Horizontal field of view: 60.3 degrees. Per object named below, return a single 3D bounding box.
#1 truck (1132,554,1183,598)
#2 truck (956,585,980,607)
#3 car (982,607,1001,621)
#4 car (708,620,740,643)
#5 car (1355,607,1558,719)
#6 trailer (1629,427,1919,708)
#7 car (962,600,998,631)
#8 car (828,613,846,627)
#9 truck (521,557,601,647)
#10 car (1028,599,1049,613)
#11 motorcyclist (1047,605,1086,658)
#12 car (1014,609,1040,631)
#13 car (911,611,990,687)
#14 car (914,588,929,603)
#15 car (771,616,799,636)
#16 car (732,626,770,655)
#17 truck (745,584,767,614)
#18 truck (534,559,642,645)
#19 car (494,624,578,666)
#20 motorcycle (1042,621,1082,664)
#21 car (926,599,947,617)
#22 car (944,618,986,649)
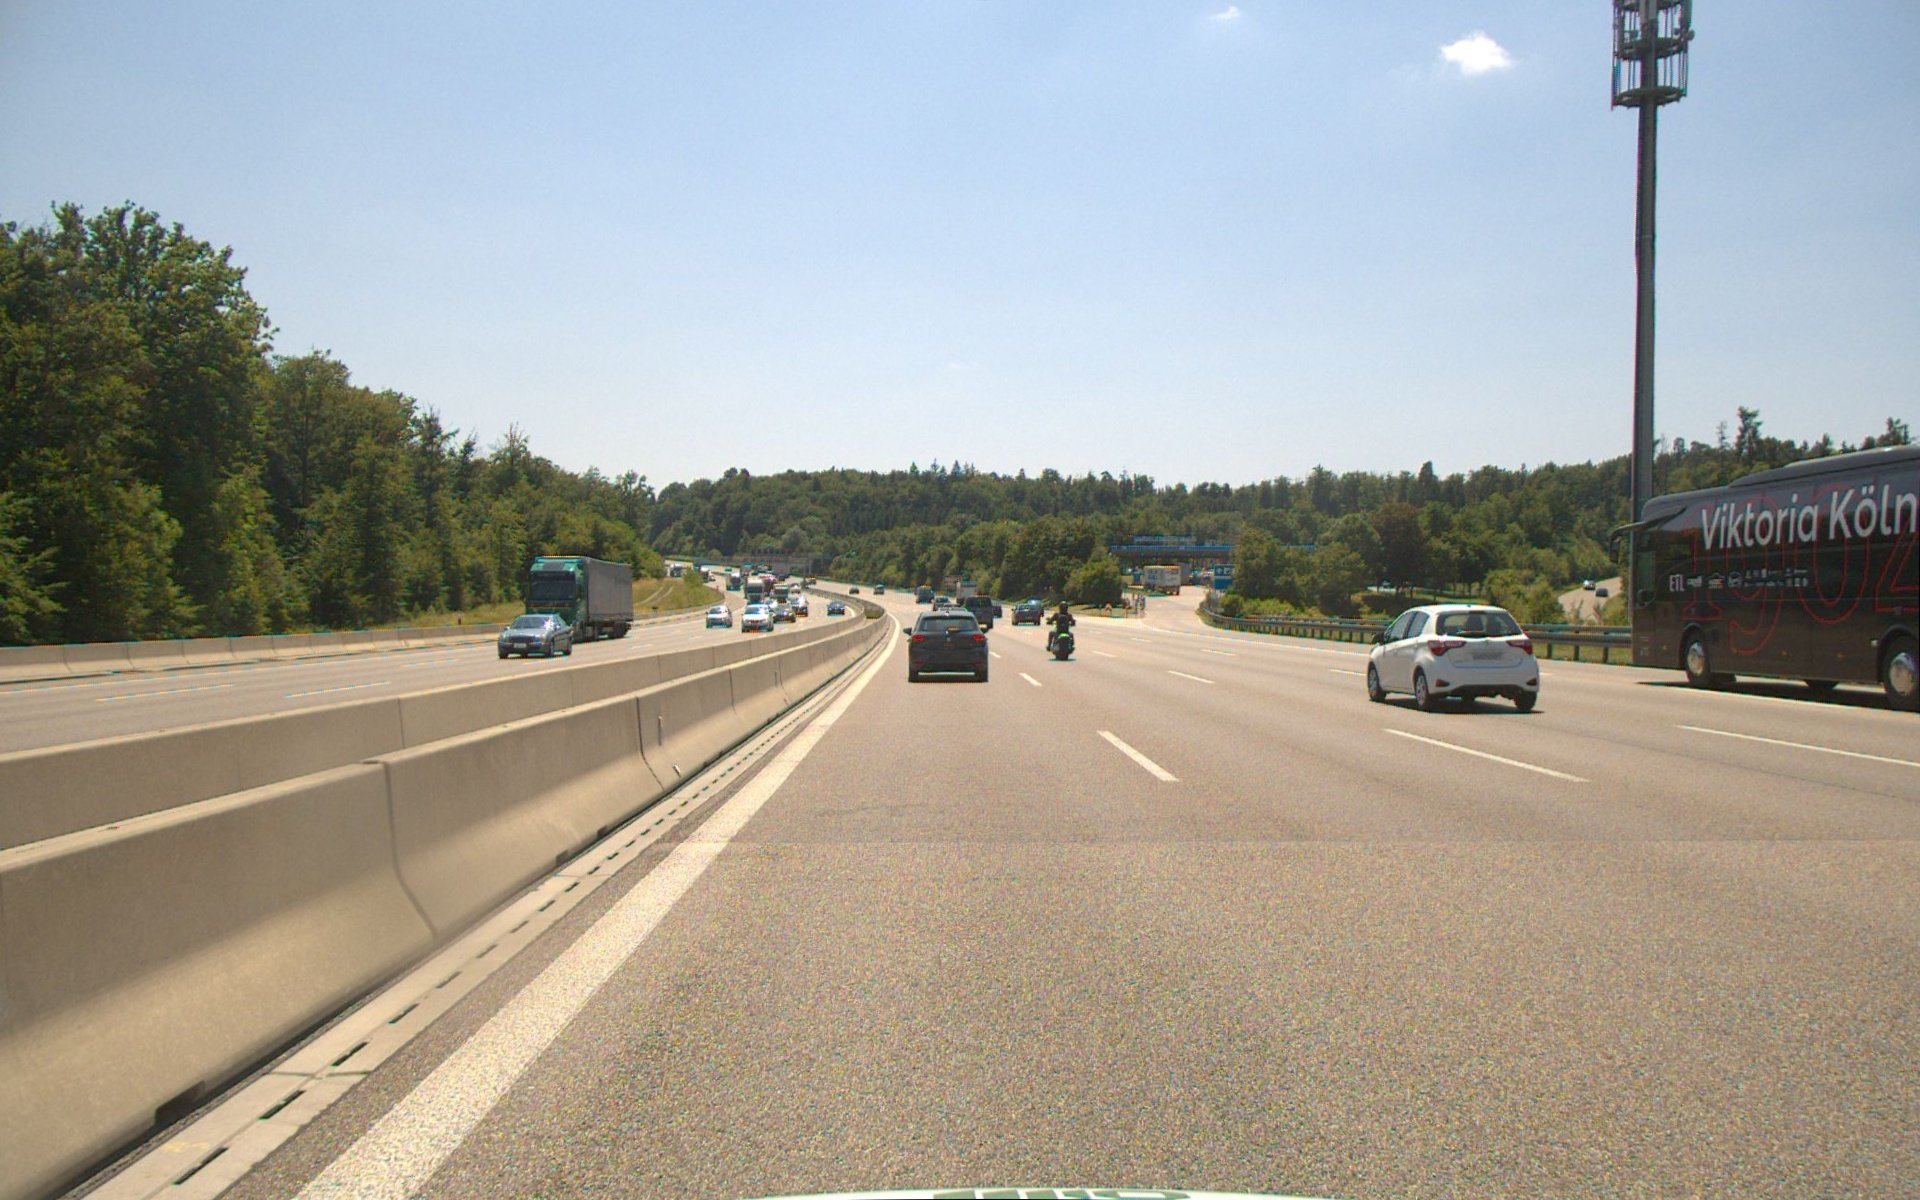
[{"bbox_3d":[30.085,-3.576,252.644,5.397,6.376,15.425,-1,0,-2],"label":"truck"},{"bbox_3d":[1.084,-0.610,227.363,2.673,2.835,5.678,2,1,-4],"label":"truck"},{"bbox_3d":[2.773,1.255,146.087,1.576,1.233,3.458,0,0,-2],"label":"car"},{"bbox_3d":[-17.010,2.225,119.173,1.835,1.561,4.134,-1,0,-2],"label":"car"},{"bbox_3d":[7.373,0.876,25.016,1.632,1.458,4.374,-3,0,-1],"label":"car"},{"bbox_3d":[14.224,-0.410,24.914,2.799,3.752,13.541,0,-1,0],"label":"trailer"},{"bbox_3d":[1.218,0.933,103.176,2.055,1.884,4.079,0,0,-2],"label":"car"},{"bbox_3d":[-12.812,2.078,172.423,1.569,1.494,4.503,-1,0,-2],"label":"car"},{"bbox_3d":[-18.950,0.103,78.852,2.604,4.096,5.508,-1,0,-2],"label":"truck"},{"bbox_3d":[7.030,0.556,148.497,1.576,1.233,3.459,-1,0,-2],"label":"car"},{"bbox_3d":[3.047,0.887,47.387,0.943,1.463,1.234,-1,0,-5],"label":"motorcyclist"},{"bbox_3d":[4.548,1.327,112.462,1.641,1.457,3.685,1,0,0],"label":"car"},{"bbox_3d":[-0.188,1.002,35.421,1.591,1.513,3.685,0,0,0],"label":"car"},{"bbox_3d":[-5.793,-0.668,248.576,1.954,2.048,4.670,2,1,-4],"label":"car"},{"bbox_3d":[-14.415,2.149,136.814,1.835,1.502,5.110,-3,0,-2],"label":"car"},{"bbox_3d":[-12.461,2.387,98.878,1.795,1.589,4.775,-1,0,-2],"label":"car"},{"bbox_3d":[-29.609,-0.194,240.385,2.628,4.250,6.228,-1,0,-3],"label":"truck"},{"bbox_3d":[-19.130,0.110,86.034,2.635,4.096,14.294,-1,0,-1],"label":"truck"},{"bbox_3d":[-14.626,1.535,57.286,1.794,1.324,4.728,1,0,-2],"label":"car"},{"bbox_3d":[2.920,1.211,47.524,0.957,1.149,2.270,0,0,-2],"label":"motorcycle"},{"bbox_3d":[-2.480,0.800,172.684,1.954,1.713,4.420,2,1,-4],"label":"car"},{"bbox_3d":[0.211,1.442,72.407,1.746,1.287,3.459,0,0,-1],"label":"car"}]
